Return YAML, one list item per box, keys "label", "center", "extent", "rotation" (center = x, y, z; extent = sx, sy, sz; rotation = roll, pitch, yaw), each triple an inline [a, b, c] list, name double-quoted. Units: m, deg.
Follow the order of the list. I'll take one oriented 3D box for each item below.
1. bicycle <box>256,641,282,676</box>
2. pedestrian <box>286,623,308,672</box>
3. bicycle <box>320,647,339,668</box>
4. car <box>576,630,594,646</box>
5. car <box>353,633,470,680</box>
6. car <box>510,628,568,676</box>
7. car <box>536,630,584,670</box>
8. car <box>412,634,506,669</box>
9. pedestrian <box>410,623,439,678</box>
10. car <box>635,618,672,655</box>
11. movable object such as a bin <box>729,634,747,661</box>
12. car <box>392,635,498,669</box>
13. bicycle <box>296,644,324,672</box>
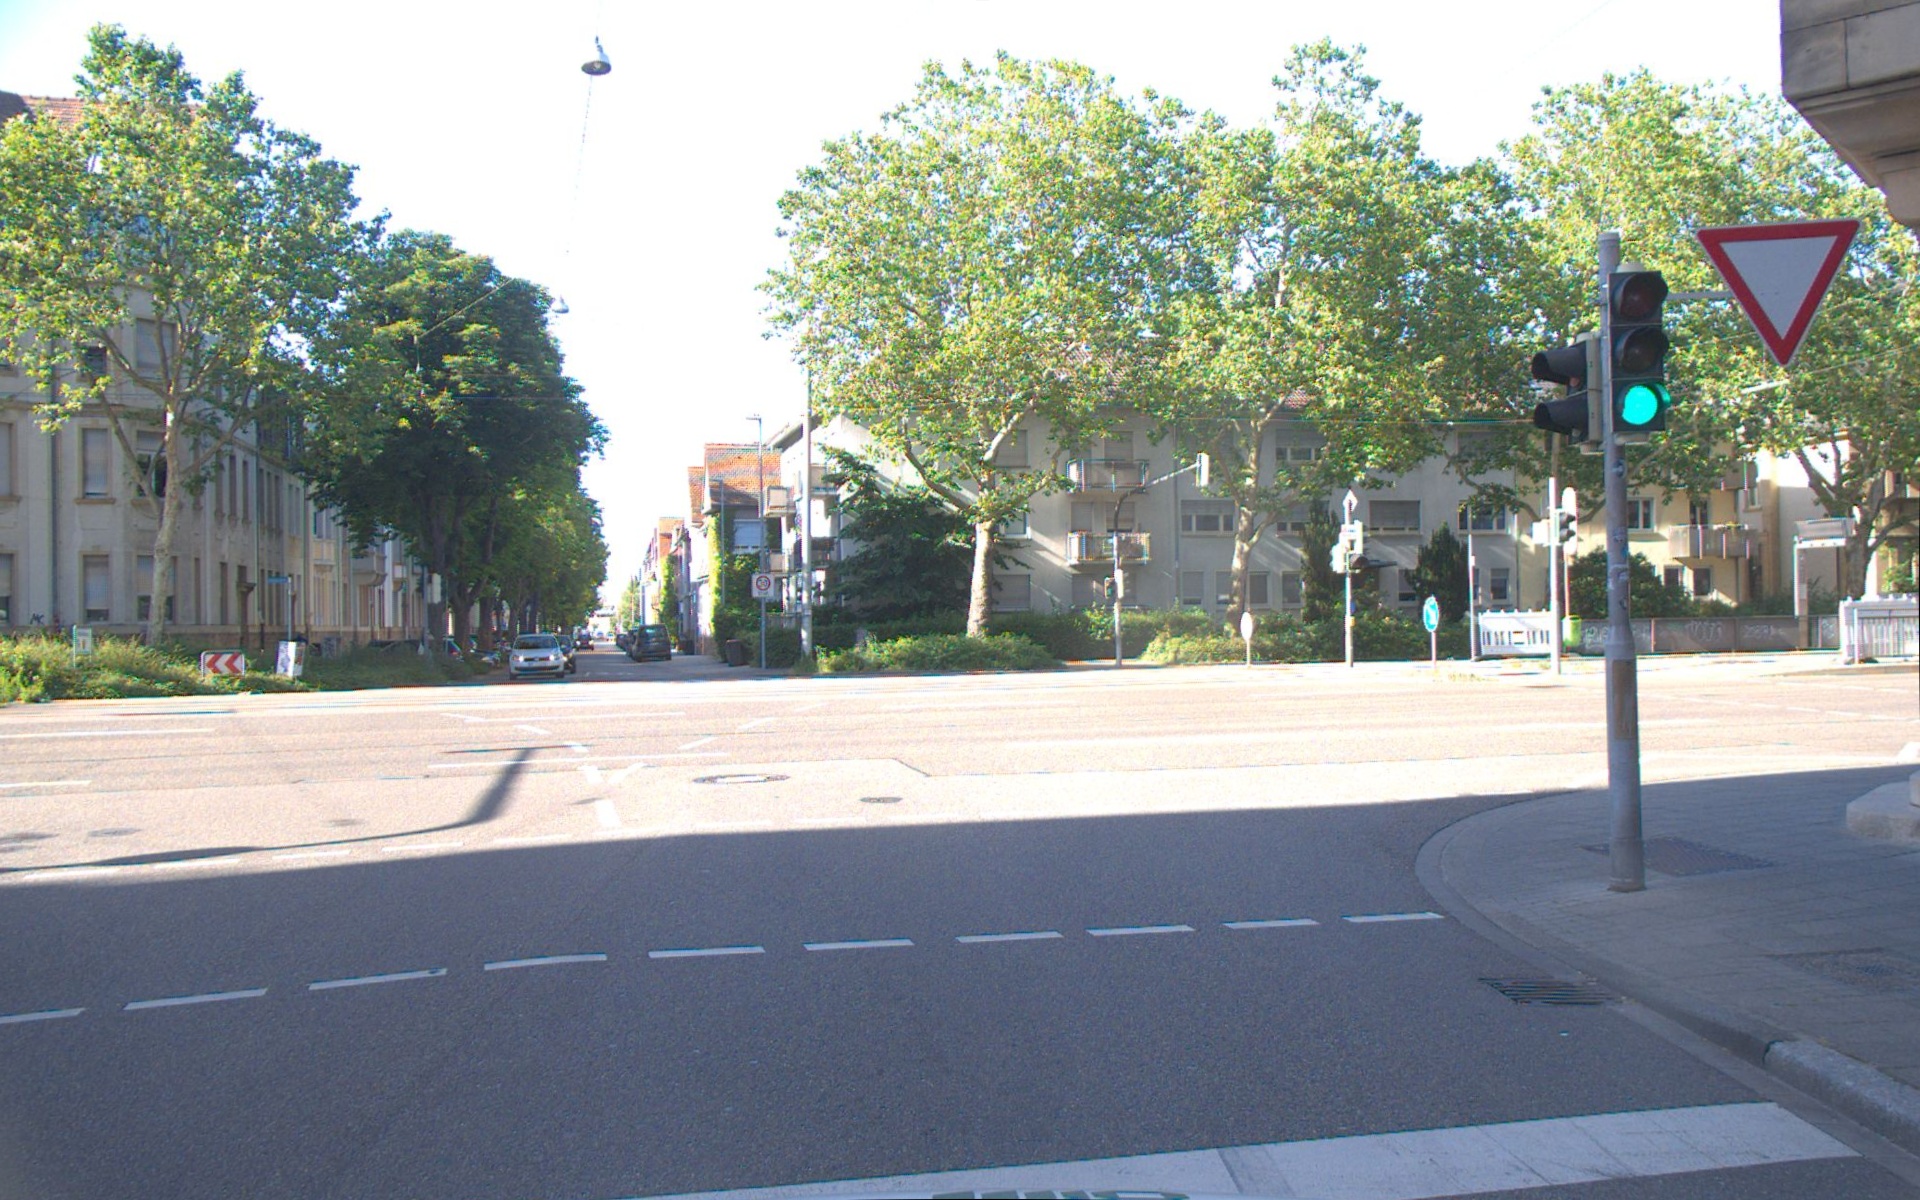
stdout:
- label: "bicycle"
  center: [-24.742, 2.086, 59.240]
  extent: [0.505, 1.174, 1.976]
  rotation: [1, -1, -12]
- label: "pedestrian"
  center: [-23.188, 1.649, 57.830]
  extent: [0.451, 1.687, 0.893]
  rotation: [-1, -1, -4]
- label: "bicycle"
  center: [-25.962, 2.354, 68.138]
  extent: [0.563, 0.830, 0.963]
  rotation: [2, -2, -14]
- label: "car"
  center: [-36.527, 3.693, 161.019]
  extent: [1.613, 1.535, 3.690]
  rotation: [-2, -1, -13]
- label: "car"
  center: [-19.600, 2.017, 59.232]
  extent: [3.816, 1.501, 1.610]
  rotation: [-2, -1, -13]
- label: "car"
  center: [-13.979, 1.744, 55.091]
  extent: [1.775, 1.484, 3.986]
  rotation: [-1, -2, -13]
- label: "car"
  center: [-15.659, 1.946, 64.853]
  extent: [1.631, 1.490, 3.797]
  rotation: [-1, -1, -12]
- label: "car"
  center: [-22.631, 2.331, 74.877]
  extent: [3.916, 1.508, 1.780]
  rotation: [0, -1, -12]
- label: "pedestrian"
  center: [-16.883, 1.583, 52.168]
  extent: [0.680, 1.711, 0.680]
  rotation: [-1, -1, -2]
- label: "car"
  center: [-16.833, 2.007, 90.710]
  extent: [1.832, 1.950, 4.767]
  rotation: [1, -1, -12]
- label: "movable object such as a bin"
  center: [-9.175, 1.970, 68.426]
  extent: [0.587, 1.062, 0.704]
  rotation: [-5, 0, -15]
- label: "car"
  center: [-21.874, 2.223, 70.362]
  extent: [4.139, 1.372, 1.697]
  rotation: [0, -2, -13]
- label: "bicycle"
  center: [-22.734, 2.020, 57.843]
  extent: [0.462, 0.928, 1.595]
  rotation: [-1, -1, -5]
